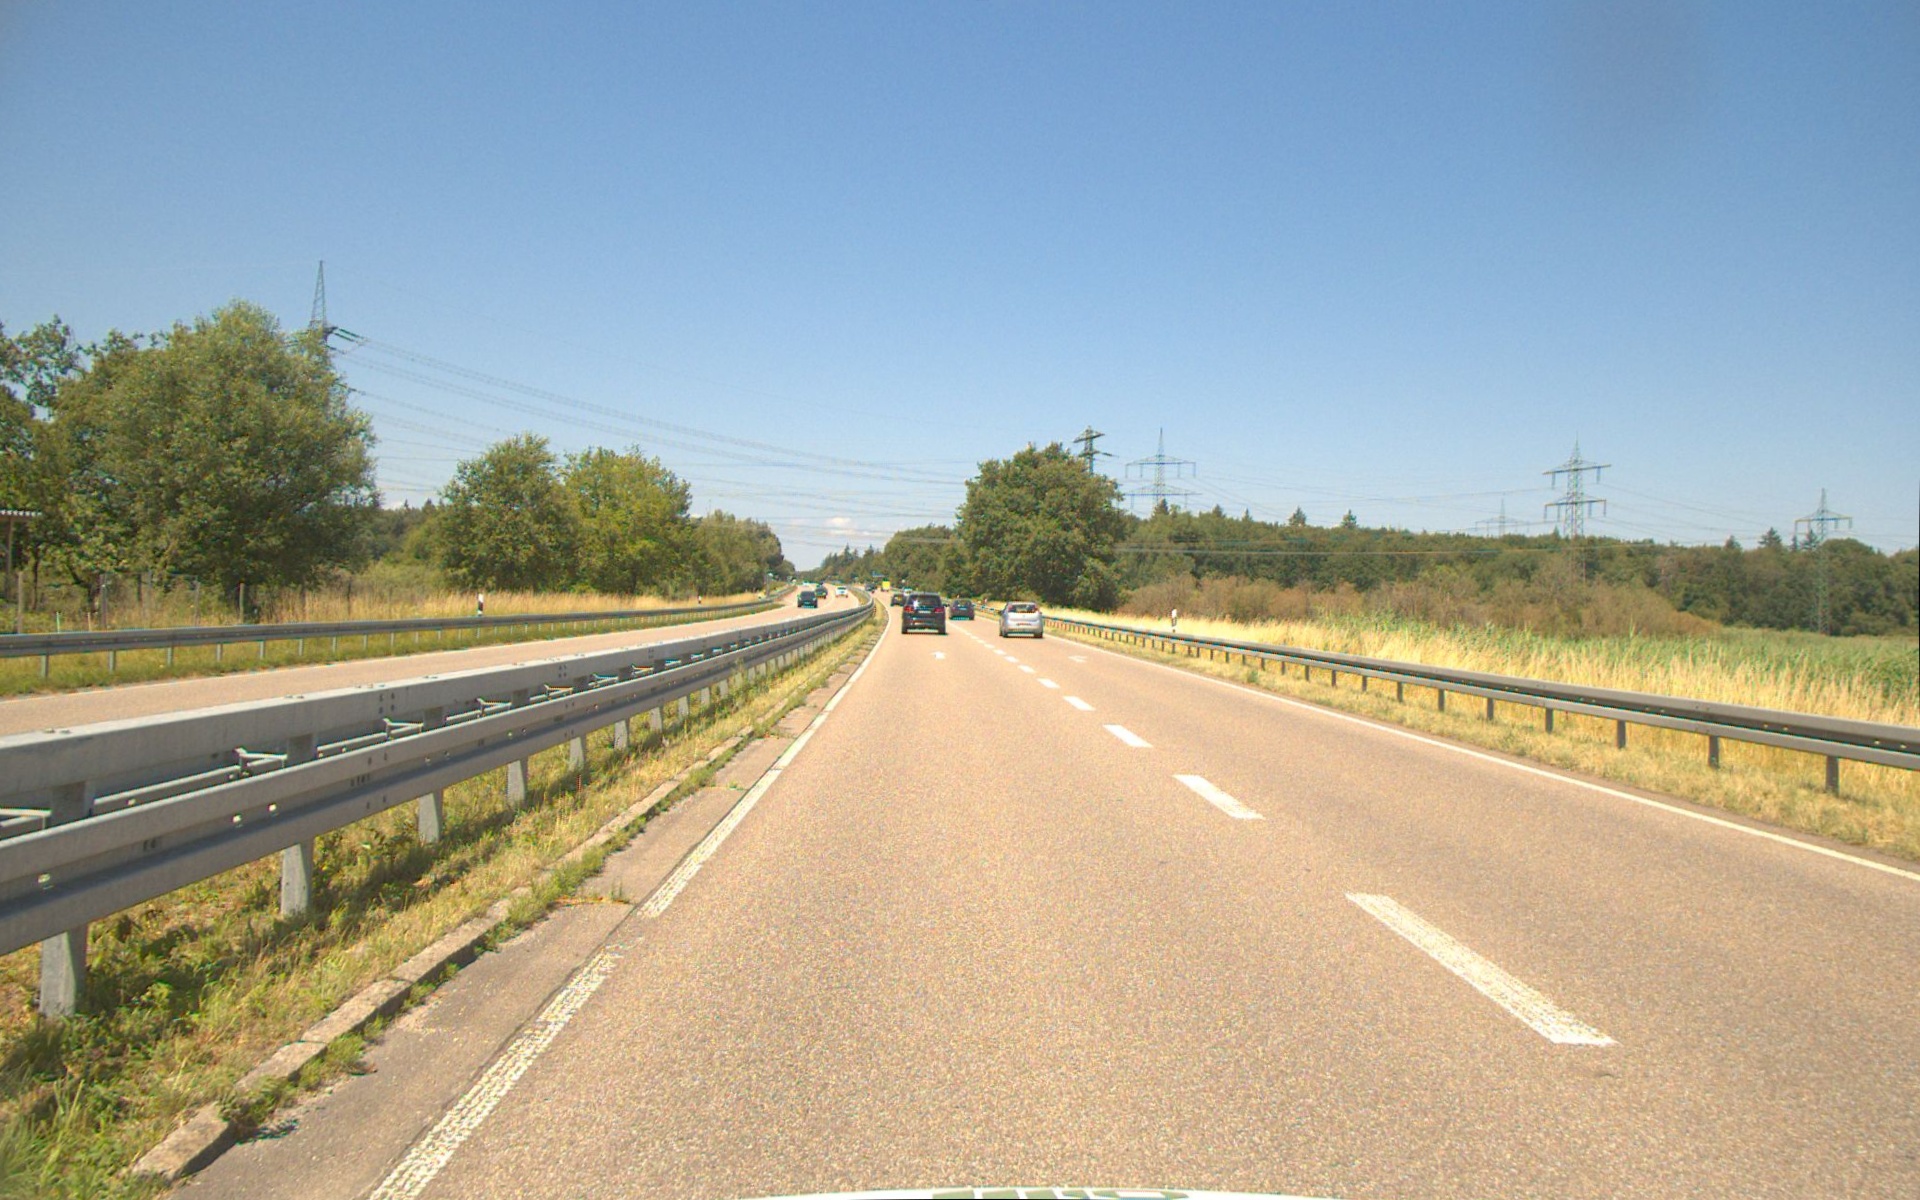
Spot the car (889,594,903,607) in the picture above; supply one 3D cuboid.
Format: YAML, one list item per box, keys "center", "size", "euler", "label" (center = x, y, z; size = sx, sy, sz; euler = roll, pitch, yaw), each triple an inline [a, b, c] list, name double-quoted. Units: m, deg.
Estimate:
- center: [-7.360, 0.084, 189.340]
  size: [1.485, 1.501, 3.063]
  euler: [1, 0, -4]
  label: "car"

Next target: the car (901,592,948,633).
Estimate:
- center: [-1.509, 0.533, 71.689]
  size: [1.953, 1.683, 3.999]
  euler: [1, 0, -1]
  label: "car"

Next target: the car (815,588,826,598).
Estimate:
- center: [-20.837, -1.021, 247.267]
  size: [1.582, 1.501, 3.063]
  euler: [1, 0, -4]
  label: "car"

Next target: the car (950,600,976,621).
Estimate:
- center: [0.213, 0.756, 118.853]
  size: [1.782, 1.439, 3.999]
  euler: [1, 0, -1]
  label: "car"

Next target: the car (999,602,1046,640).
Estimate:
- center: [2.582, 0.843, 69.092]
  size: [1.743, 1.505, 4.314]
  euler: [1, 0, -1]
  label: "car"

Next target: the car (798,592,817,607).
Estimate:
- center: [-15.350, -0.036, 166.133]
  size: [1.795, 1.501, 3.681]
  euler: [0, 0, -4]
  label: "car"

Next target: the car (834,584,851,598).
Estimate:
- center: [-13.773, -1.059, 193.484]
  size: [1.836, 1.501, 3.682]
  euler: [1, 0, -3]
  label: "car"
